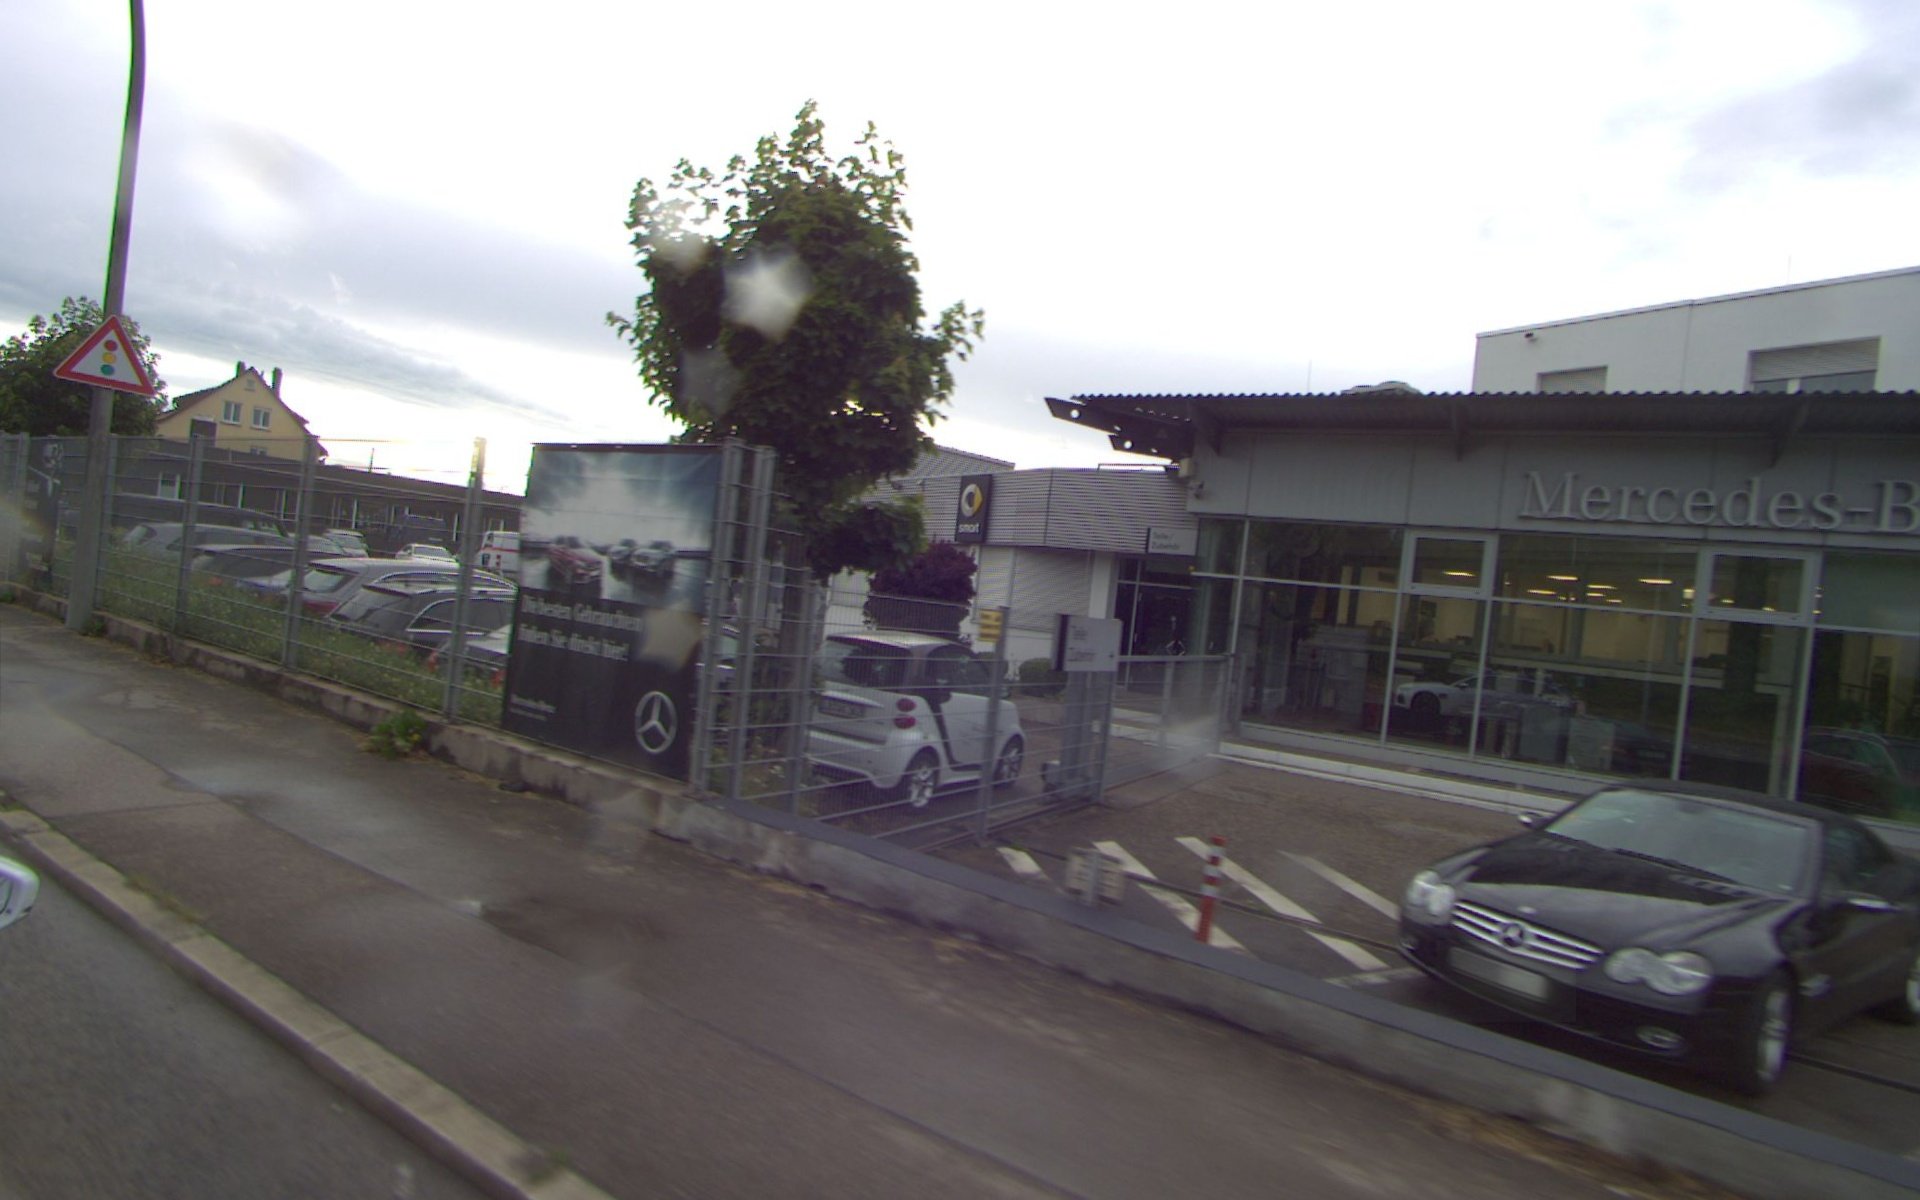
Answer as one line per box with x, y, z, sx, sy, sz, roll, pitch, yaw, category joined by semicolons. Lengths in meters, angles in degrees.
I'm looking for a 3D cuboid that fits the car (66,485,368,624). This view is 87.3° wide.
-13.985;-0.784;19.180;1.746;1.914;4.141;5;-4;36;car

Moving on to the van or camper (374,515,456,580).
-25.626;-2.496;47.190;2.321;2.589;5.680;7;0;-38;van or camper

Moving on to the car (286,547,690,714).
-5.239;0.465;11.753;1.566;1.423;3.999;6;-4;29;car

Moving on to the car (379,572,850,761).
-3.229;0.767;10.240;1.967;1.384;4.118;5;-4;32;car

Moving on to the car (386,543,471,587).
-22.069;-1.460;41.709;1.887;1.435;4.413;11;-5;-42;car

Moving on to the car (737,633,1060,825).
-0.535;1.189;10.246;1.968;1.463;2.720;5;0;33;car

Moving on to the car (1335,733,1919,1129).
4.497;1.815;6.313;4.124;1.458;1.795;8;-1;-33;car

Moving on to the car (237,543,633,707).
-6.829;0.426;13.531;1.938;1.615;4.180;5;-4;35;car

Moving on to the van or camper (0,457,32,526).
-40.317;-4.595;41.823;2.033;2.625;6.515;6;0;-40;van or camper

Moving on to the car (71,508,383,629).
-12.591;-0.484;17.481;1.765;1.418;3.987;5;-4;40;car

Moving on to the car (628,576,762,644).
-7.261;0.241;27.320;1.986;1.435;3.960;10;-5;-38;car

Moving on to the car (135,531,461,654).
-10.663;-0.055;16.463;1.797;1.451;3.988;7;-1;36;car

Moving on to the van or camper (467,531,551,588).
-18.939;-1.648;42.118;1.984;1.959;5.381;9;-4;-35;van or camper

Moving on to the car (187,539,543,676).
-8.630;0.177;14.910;1.970;1.418;3.992;5;-4;36;car
